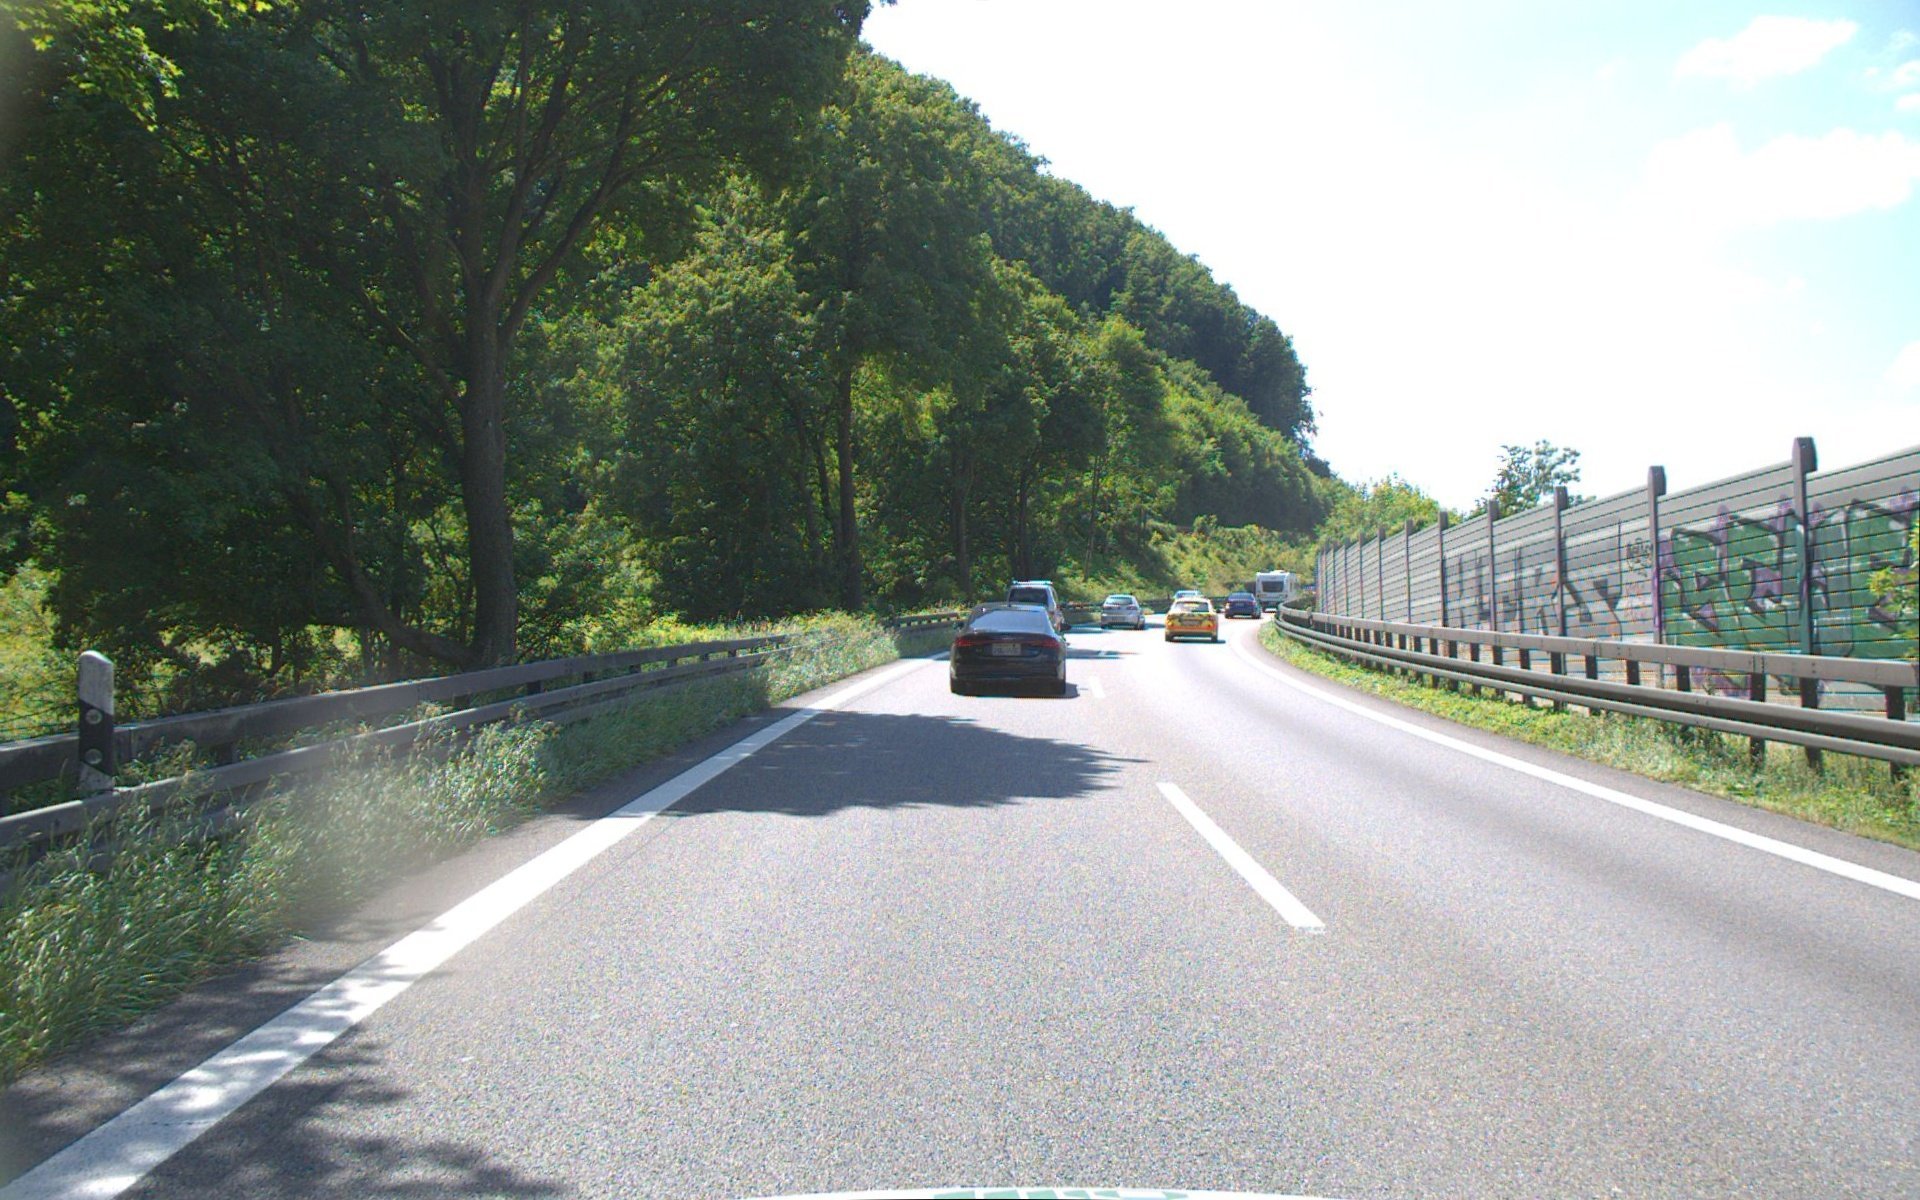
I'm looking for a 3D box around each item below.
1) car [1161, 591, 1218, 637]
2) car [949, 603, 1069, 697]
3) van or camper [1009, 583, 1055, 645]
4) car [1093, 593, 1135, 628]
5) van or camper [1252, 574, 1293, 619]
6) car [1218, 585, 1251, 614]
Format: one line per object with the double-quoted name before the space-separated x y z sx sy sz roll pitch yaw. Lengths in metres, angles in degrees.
"car" 7.894 0.473 56.625 1.823 1.514 4.003 0 -1 10
"car" 0.830 0.782 27.159 1.799 1.373 4.001 1 -1 2
"van or camper" 2.204 0.432 50.931 1.362 1.847 4.001 0 -1 2
"car" 6.580 0.454 70.938 1.710 1.456 4.002 0 -1 4
"van or camper" 21.382 -0.185 113.096 2.403 2.969 6.130 0 -1 14
"car" 15.854 -0.002 95.329 1.735 1.665 4.003 0 -1 12
